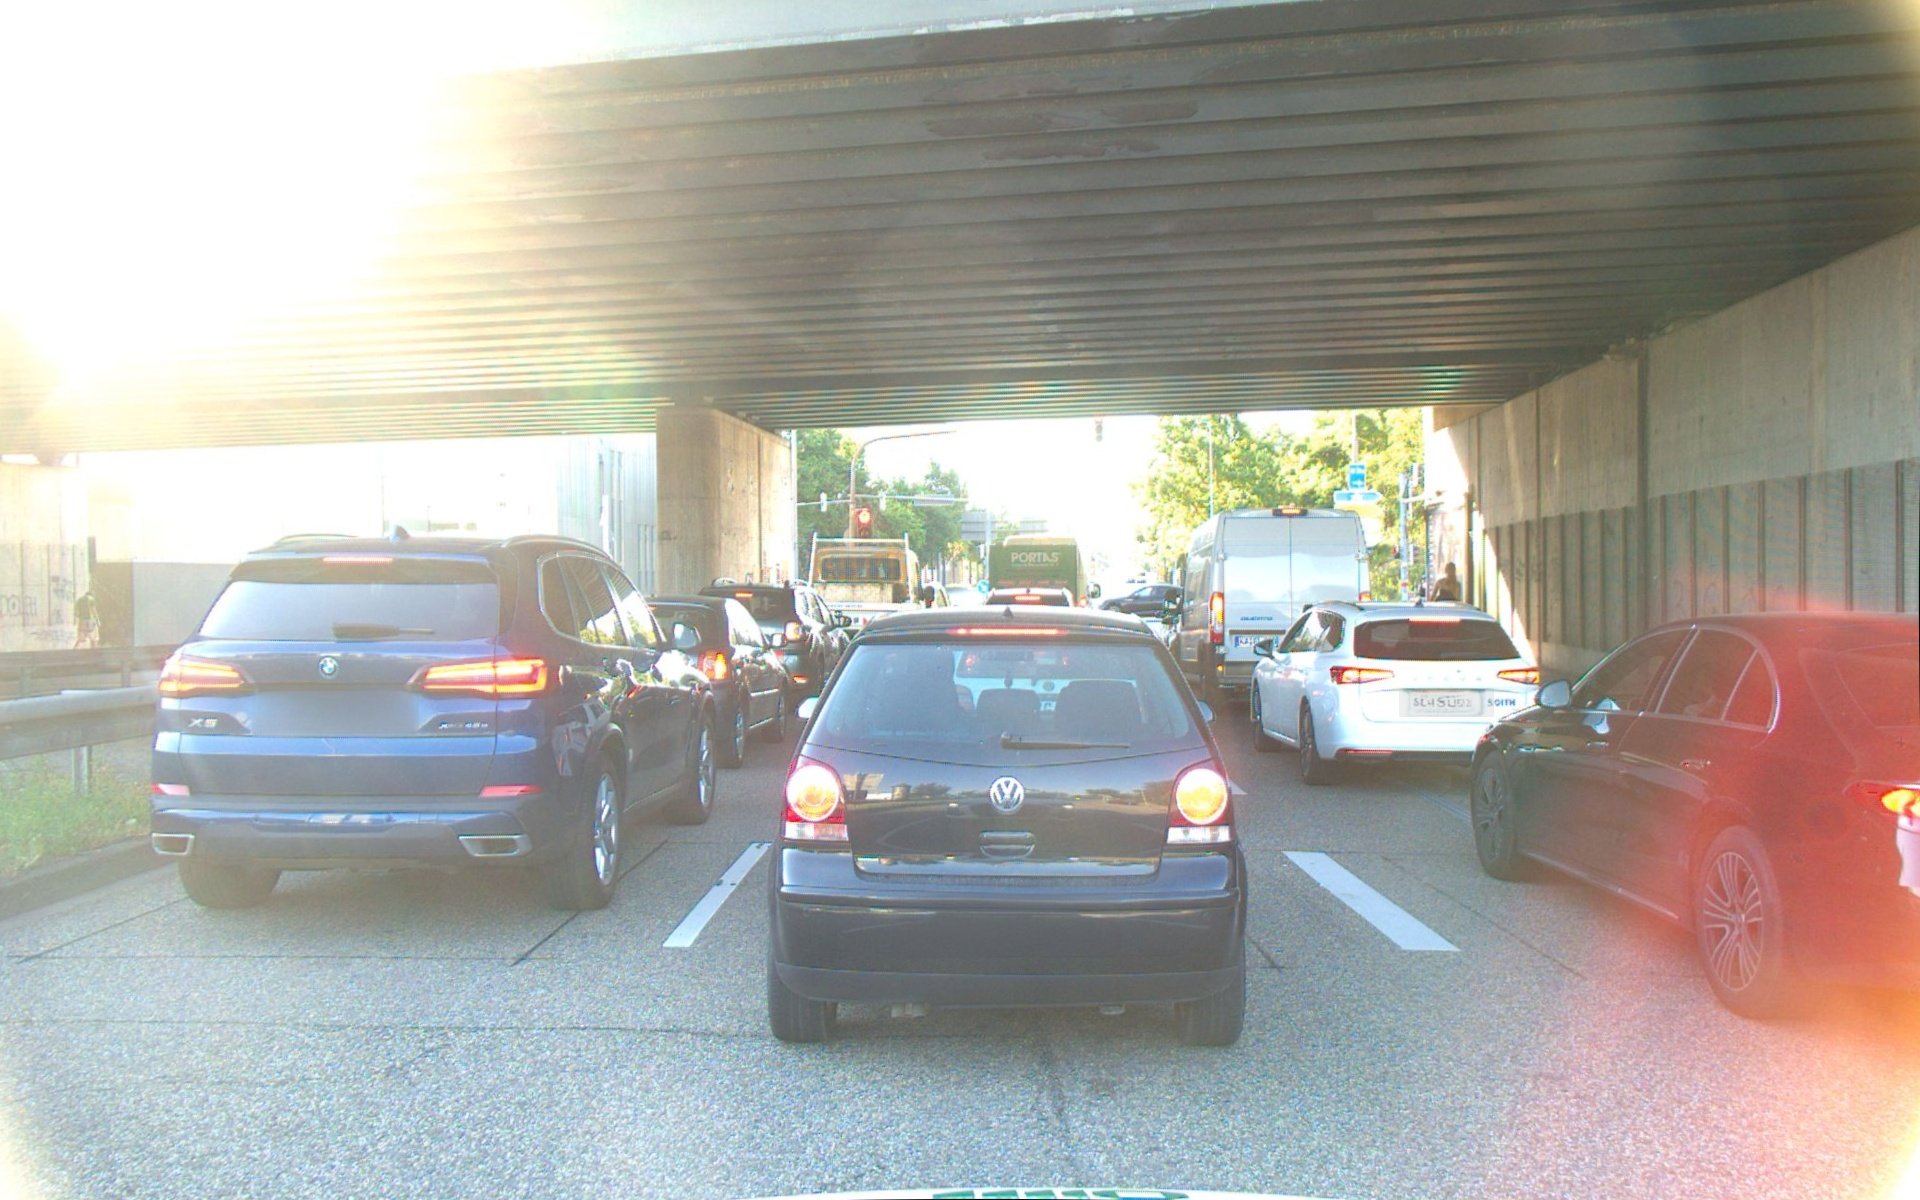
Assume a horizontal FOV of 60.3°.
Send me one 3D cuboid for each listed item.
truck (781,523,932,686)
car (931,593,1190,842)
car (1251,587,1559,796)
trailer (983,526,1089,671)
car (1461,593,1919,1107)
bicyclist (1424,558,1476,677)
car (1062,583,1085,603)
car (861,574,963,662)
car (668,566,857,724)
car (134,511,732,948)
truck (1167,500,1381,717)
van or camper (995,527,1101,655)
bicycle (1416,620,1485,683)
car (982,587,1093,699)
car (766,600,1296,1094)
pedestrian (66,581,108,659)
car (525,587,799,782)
[{"bbox_3d":[-1.711,0.100,29.292,1.985,2.601,5.539,0,-1,3],"label":"truck"},{"bbox_3d":[0.669,0.718,11.933,1.515,1.448,3.418,-3,0,2],"label":"car"},{"bbox_3d":[3.671,0.710,14.316,1.735,1.521,3.833,-2,-1,2],"label":"car"},{"bbox_3d":[1.490,-0.009,31.213,1.825,2.508,3.834,-2,-1,4],"label":"trailer"},{"bbox_3d":[3.734,0.740,7.230,1.705,1.480,4.606,0,1,0],"label":"car"},{"bbox_3d":[8.114,0.282,27.422,0.667,1.940,0.834,0,-1,5],"label":"bicyclist"},{"bbox_3d":[8.237,-0.499,120.103,1.312,1.304,2.892,-4,-1,-1],"label":"car"},{"bbox_3d":[-1.060,0.429,38.530,1.951,1.934,4.002,-1,-1,4],"label":"car"},{"bbox_3d":[-2.456,0.551,21.550,1.803,1.749,4.000,-4,-1,1],"label":"car"},{"bbox_3d":[-2.473,0.557,9.014,1.792,1.769,4.461,-1,-1,0],"label":"car"},{"bbox_3d":[4.066,0.122,22.188,2.068,2.563,4.401,-2,-1,1],"label":"truck"},{"bbox_3d":[2.036,-0.152,36.721,1.951,2.615,5.922,0,-1,7],"label":"van or camper"},{"bbox_3d":[8.110,0.831,27.455,0.566,0.980,2.888,-1,-1,6],"label":"bicycle"},{"bbox_3d":[1.174,0.627,24.978,1.548,1.559,3.833,0,-1,3],"label":"car"},{"bbox_3d":[0.172,0.748,6.753,1.549,1.433,3.830,0,-1,-1],"label":"car"},{"bbox_3d":[-22.090,0.503,41.856,0.679,1.937,0.665,0,-1,5],"label":"pedestrian"},{"bbox_3d":[-2.598,0.704,15.265,1.804,1.465,3.675,-4,-1,0],"label":"car"}]
